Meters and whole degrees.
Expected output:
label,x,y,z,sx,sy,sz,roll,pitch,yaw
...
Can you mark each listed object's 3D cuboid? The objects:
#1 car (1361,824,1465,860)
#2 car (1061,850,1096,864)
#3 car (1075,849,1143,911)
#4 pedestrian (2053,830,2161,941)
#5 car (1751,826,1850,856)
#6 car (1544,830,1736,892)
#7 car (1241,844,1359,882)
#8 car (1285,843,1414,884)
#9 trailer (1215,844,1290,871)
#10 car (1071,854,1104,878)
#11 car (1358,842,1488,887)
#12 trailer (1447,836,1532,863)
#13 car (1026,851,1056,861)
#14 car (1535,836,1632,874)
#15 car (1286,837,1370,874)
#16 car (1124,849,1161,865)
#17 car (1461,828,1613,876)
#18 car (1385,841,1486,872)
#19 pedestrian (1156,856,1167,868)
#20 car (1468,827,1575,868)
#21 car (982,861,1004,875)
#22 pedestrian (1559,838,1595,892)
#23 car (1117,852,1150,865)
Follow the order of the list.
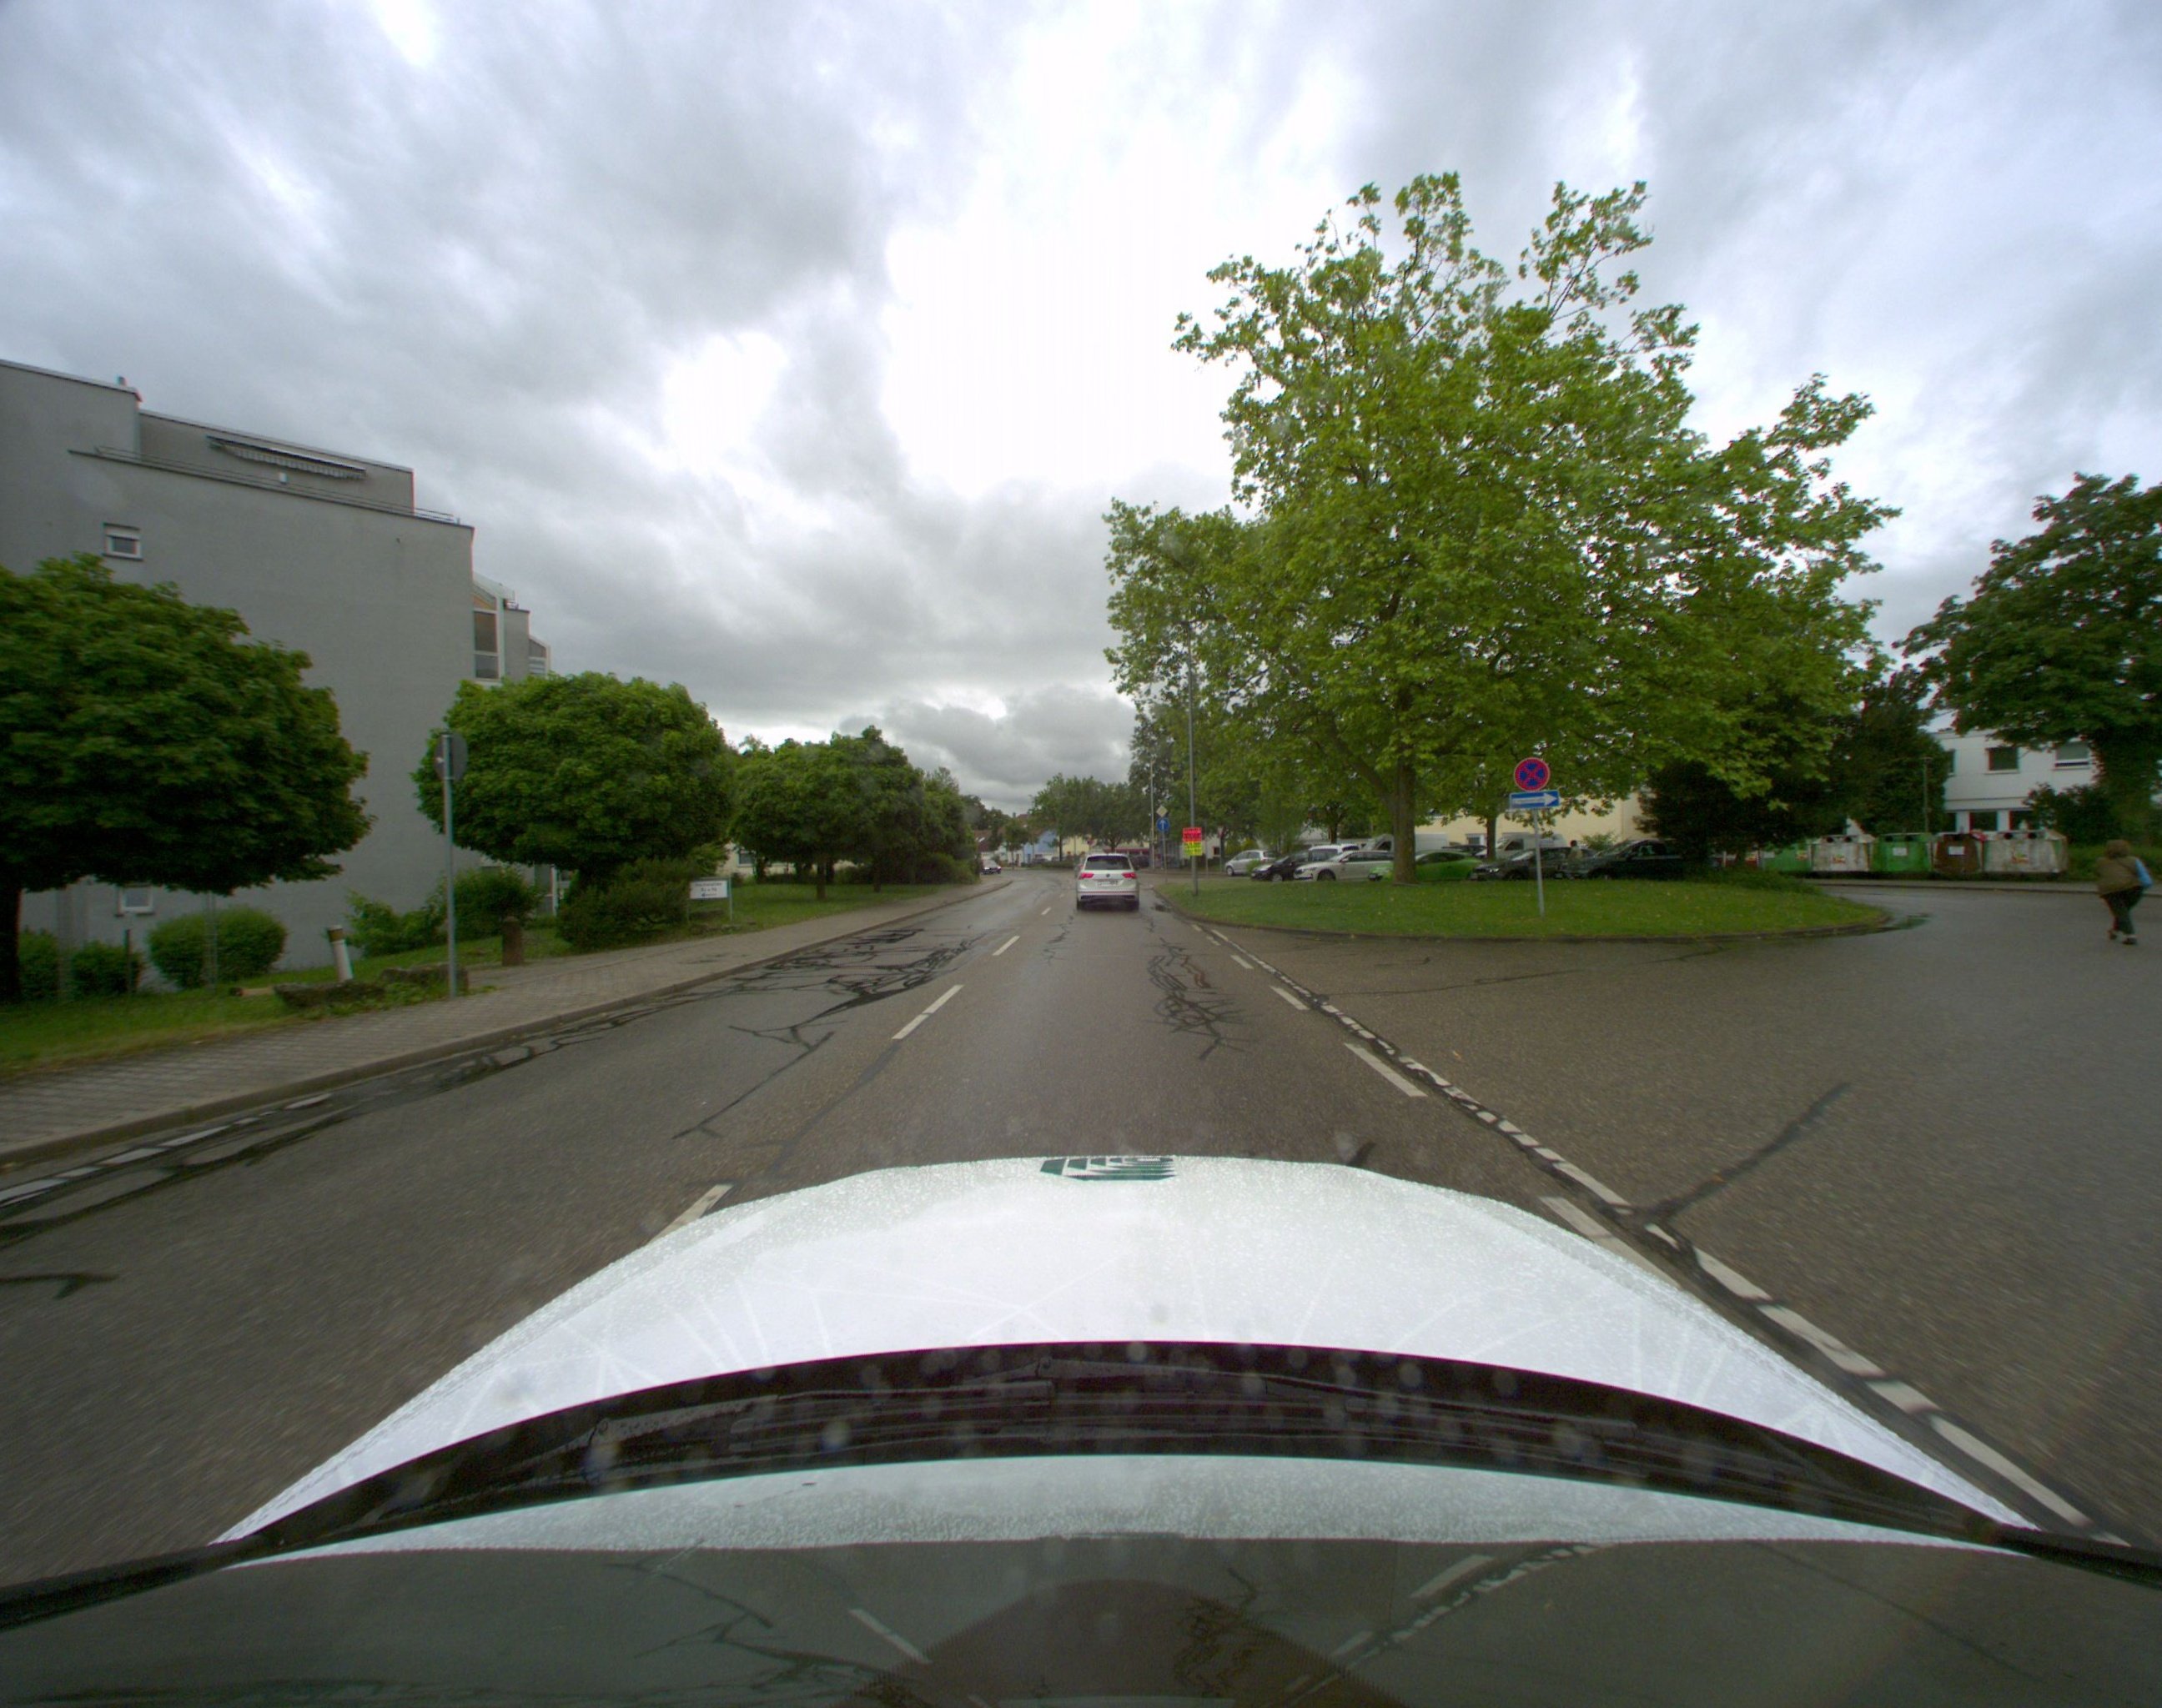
label,x,y,z,sx,sy,sz,roll,pitch,yaw
car,20.868,-0.731,51.234,5.819,2.013,1.994,-2,0,-9
car,-0.329,0.366,106.300,4.208,1.671,1.971,-2,0,-33
car,0.851,0.709,24.738,1.858,1.650,4.002,-2,0,2
pedestrian,15.341,0.449,12.202,0.728,1.583,0.956,-1,0,34
car,38.931,-0.701,44.143,3.616,1.530,1.703,-1,0,13
car,16.241,0.207,23.875,4.251,1.626,1.770,-2,0,12
car,9.395,0.377,35.098,4.564,1.443,1.762,-2,0,-4
car,10.679,0.355,32.557,4.564,1.443,1.762,-2,0,-4
trailer,10.443,0.217,49.824,2.007,1.543,4.381,-2,0,-32
car,0.418,0.821,56.523,1.767,1.551,3.991,-1,0,-6
car,12.456,0.382,29.775,4.002,1.443,1.762,-2,0,-4
trailer,23.291,-0.260,46.528,3.971,1.437,1.713,-1,0,2
car,-5.603,0.261,115.104,4.019,1.387,1.656,-2,0,-37
car,25.714,0.031,41.729,3.885,1.773,1.821,-2,0,-6
car,13.500,0.094,44.706,2.006,1.881,4.173,-1,0,-29
car,7.167,0.329,94.652,4.017,1.721,1.903,-2,0,-35
car,14.798,-0.083,26.555,4.002,1.371,1.762,-2,0,-4
car,16.895,0.119,39.003,1.773,1.382,4.143,-2,0,-34
pedestrian,6.621,0.666,66.970,0.748,1.011,0.550,-1,0,-7
car,23.720,-0.343,43.945,4.743,2.013,1.996,-2,0,-6
car,-9.307,1.454,85.653,1.743,1.414,4.123,-1,0,-14
pedestrian,15.419,0.327,25.341,0.734,1.652,0.588,-1,0,4
car,6.315,0.481,97.285,3.720,1.442,1.688,-2,0,-35
